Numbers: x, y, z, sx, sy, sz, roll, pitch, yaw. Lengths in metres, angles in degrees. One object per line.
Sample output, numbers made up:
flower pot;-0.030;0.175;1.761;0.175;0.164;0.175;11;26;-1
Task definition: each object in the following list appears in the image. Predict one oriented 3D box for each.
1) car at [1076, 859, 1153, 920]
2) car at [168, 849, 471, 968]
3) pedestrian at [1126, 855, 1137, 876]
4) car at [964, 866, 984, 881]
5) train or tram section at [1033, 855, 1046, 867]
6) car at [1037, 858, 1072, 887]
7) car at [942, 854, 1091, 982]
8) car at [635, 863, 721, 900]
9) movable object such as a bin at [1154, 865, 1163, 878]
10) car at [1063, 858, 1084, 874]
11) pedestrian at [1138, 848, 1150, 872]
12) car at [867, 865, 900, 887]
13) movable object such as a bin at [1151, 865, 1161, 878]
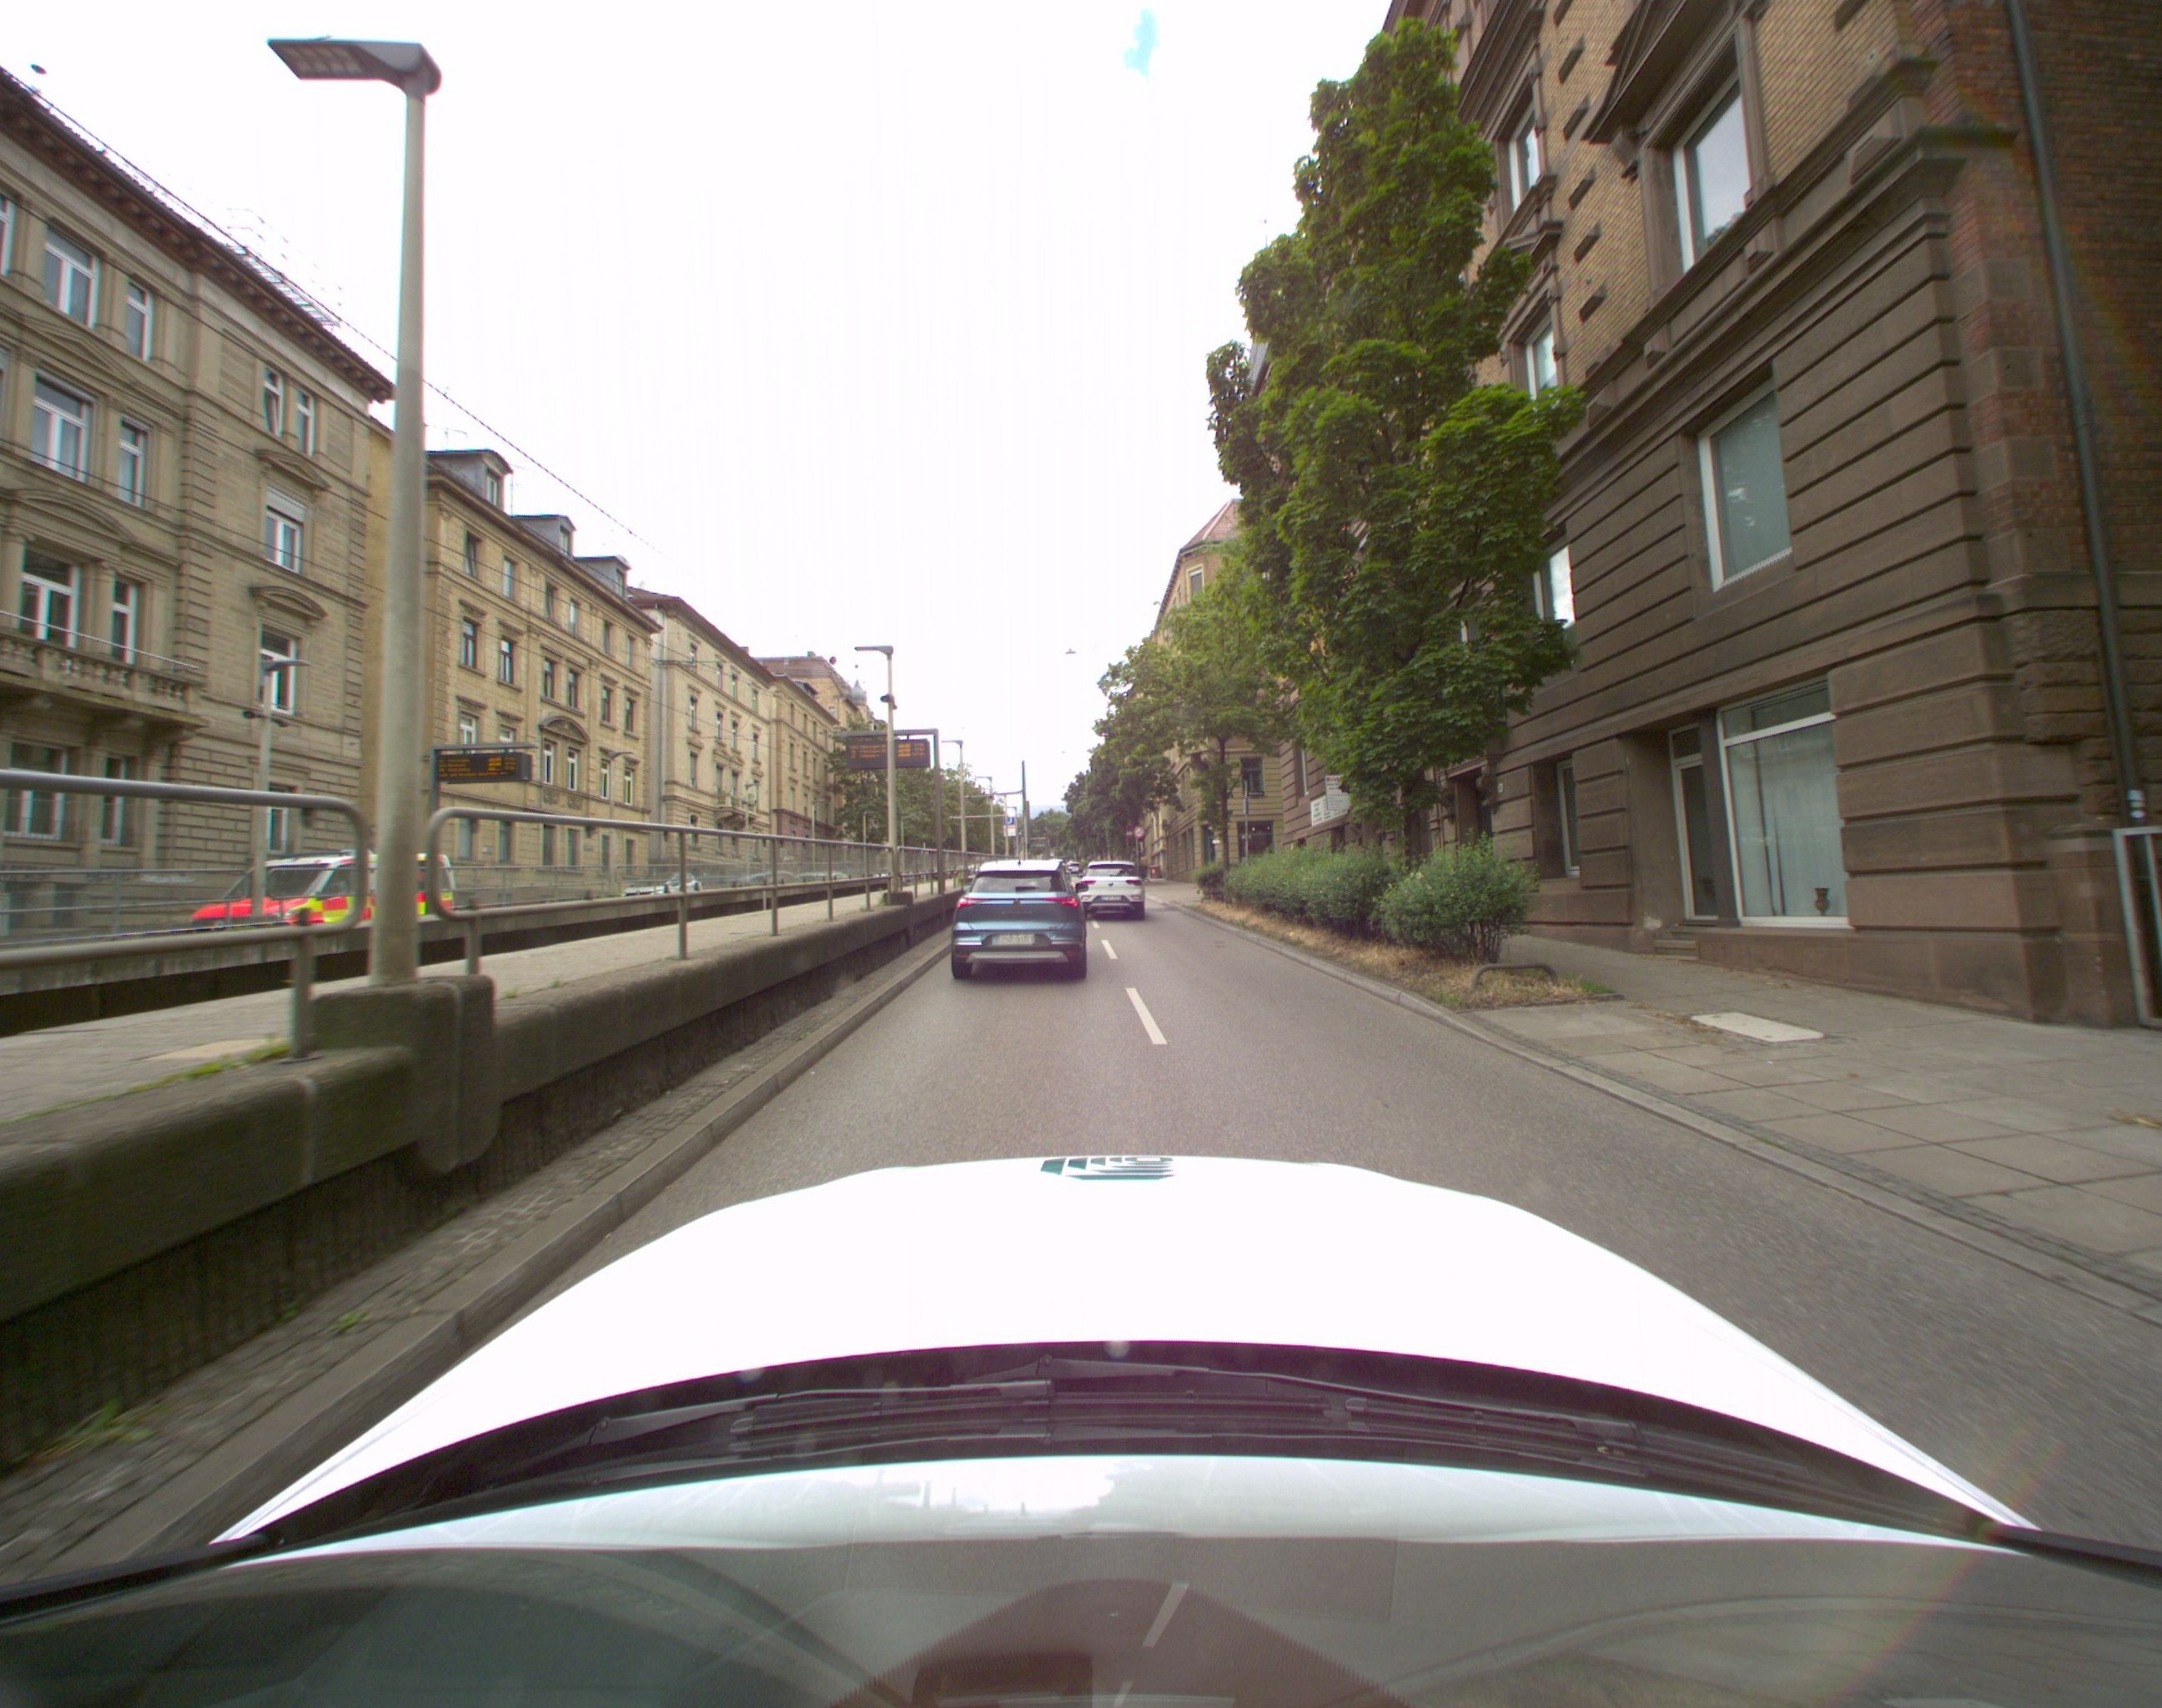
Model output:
car;0.836;0.940;22.810;1.831;1.547;4.189;0;-1;-2
car;-17.316;1.115;19.064;1.988;2.305;5.452;-2;0;-1
pedestrian;3.987;0.877;63.924;0.684;1.574;1.216;-3;-1;-1
car;-12.676;2.298;96.469;1.704;1.735;4.574;-2;-1;-1
train or tram section;-11.931;2.044;233.804;2.986;3.349;13.434;-2;-1;0
car;-1.457;1.037;45.892;1.830;1.547;4.191;0;-1;-1
car;-0.823;0.821;12.123;1.830;1.547;4.191;0;-1;-1
car;-17.494;1.159;35.601;1.763;1.471;4.256;-1;0;-3
movable object such as a bin;5.598;1.286;59.035;0.496;0.919;0.446;-3;-1;18
car;-0.782;1.245;85.197;2.061;1.547;4.193;0;-1;0
pedestrian;4.916;0.509;63.750;0.684;1.829;1.120;-3;-1;-2
car;-17.001;1.870;70.231;1.931;1.679;3.997;-3;0;-2
movable object such as a bin;5.481;1.295;59.685;0.504;0.919;0.487;-3;-1;-43
